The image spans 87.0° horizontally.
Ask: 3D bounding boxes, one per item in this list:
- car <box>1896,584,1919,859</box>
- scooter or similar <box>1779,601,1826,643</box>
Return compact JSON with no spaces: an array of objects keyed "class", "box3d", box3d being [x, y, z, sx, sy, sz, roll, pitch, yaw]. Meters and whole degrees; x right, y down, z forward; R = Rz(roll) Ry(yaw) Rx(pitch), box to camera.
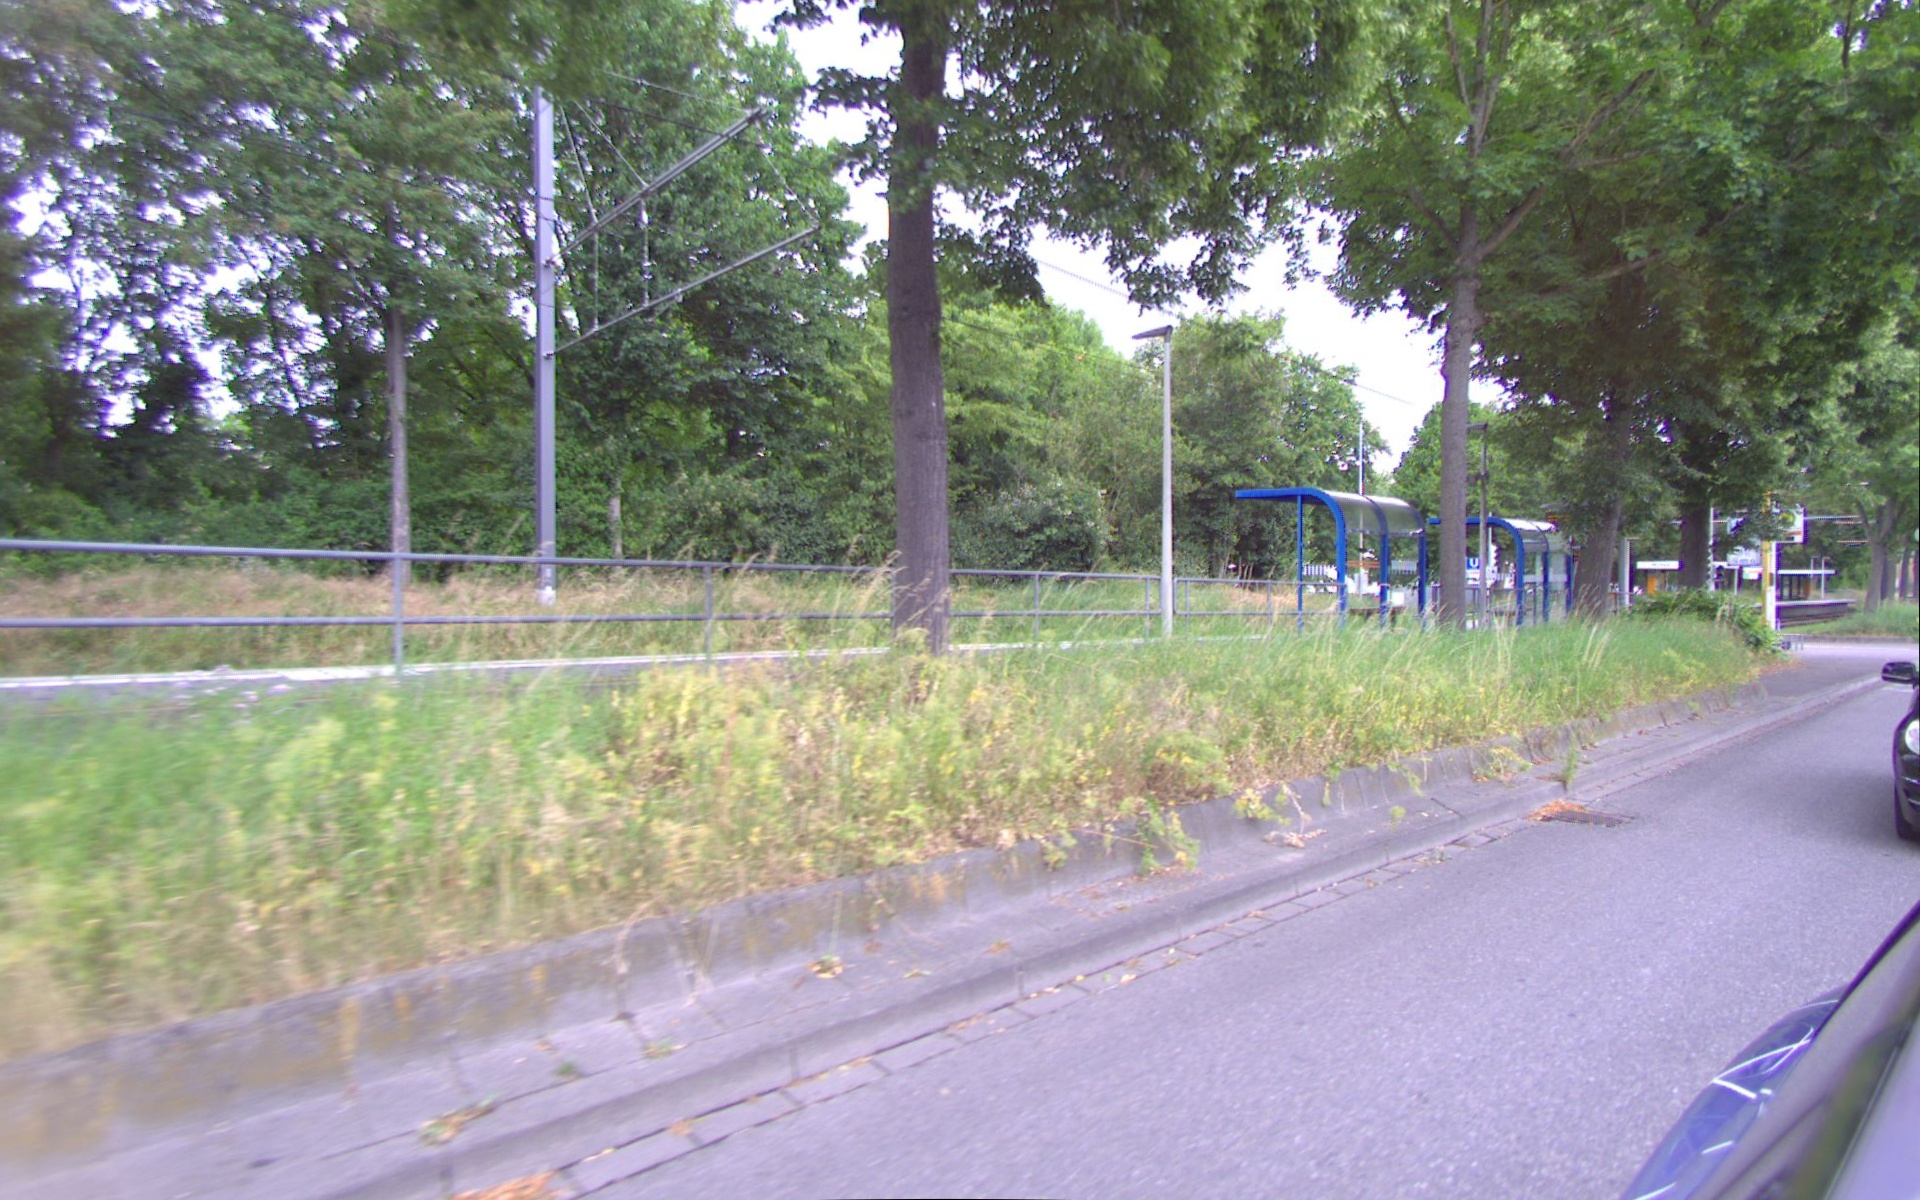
[{"class":"car","box3d":[7.687,0.690,6.785,4.406,1.594,1.681,0,0,-42]},{"class":"scooter or similar","box3d":[25.772,0.664,30.954,1.084,1.223,0.358,1,1,42]}]
